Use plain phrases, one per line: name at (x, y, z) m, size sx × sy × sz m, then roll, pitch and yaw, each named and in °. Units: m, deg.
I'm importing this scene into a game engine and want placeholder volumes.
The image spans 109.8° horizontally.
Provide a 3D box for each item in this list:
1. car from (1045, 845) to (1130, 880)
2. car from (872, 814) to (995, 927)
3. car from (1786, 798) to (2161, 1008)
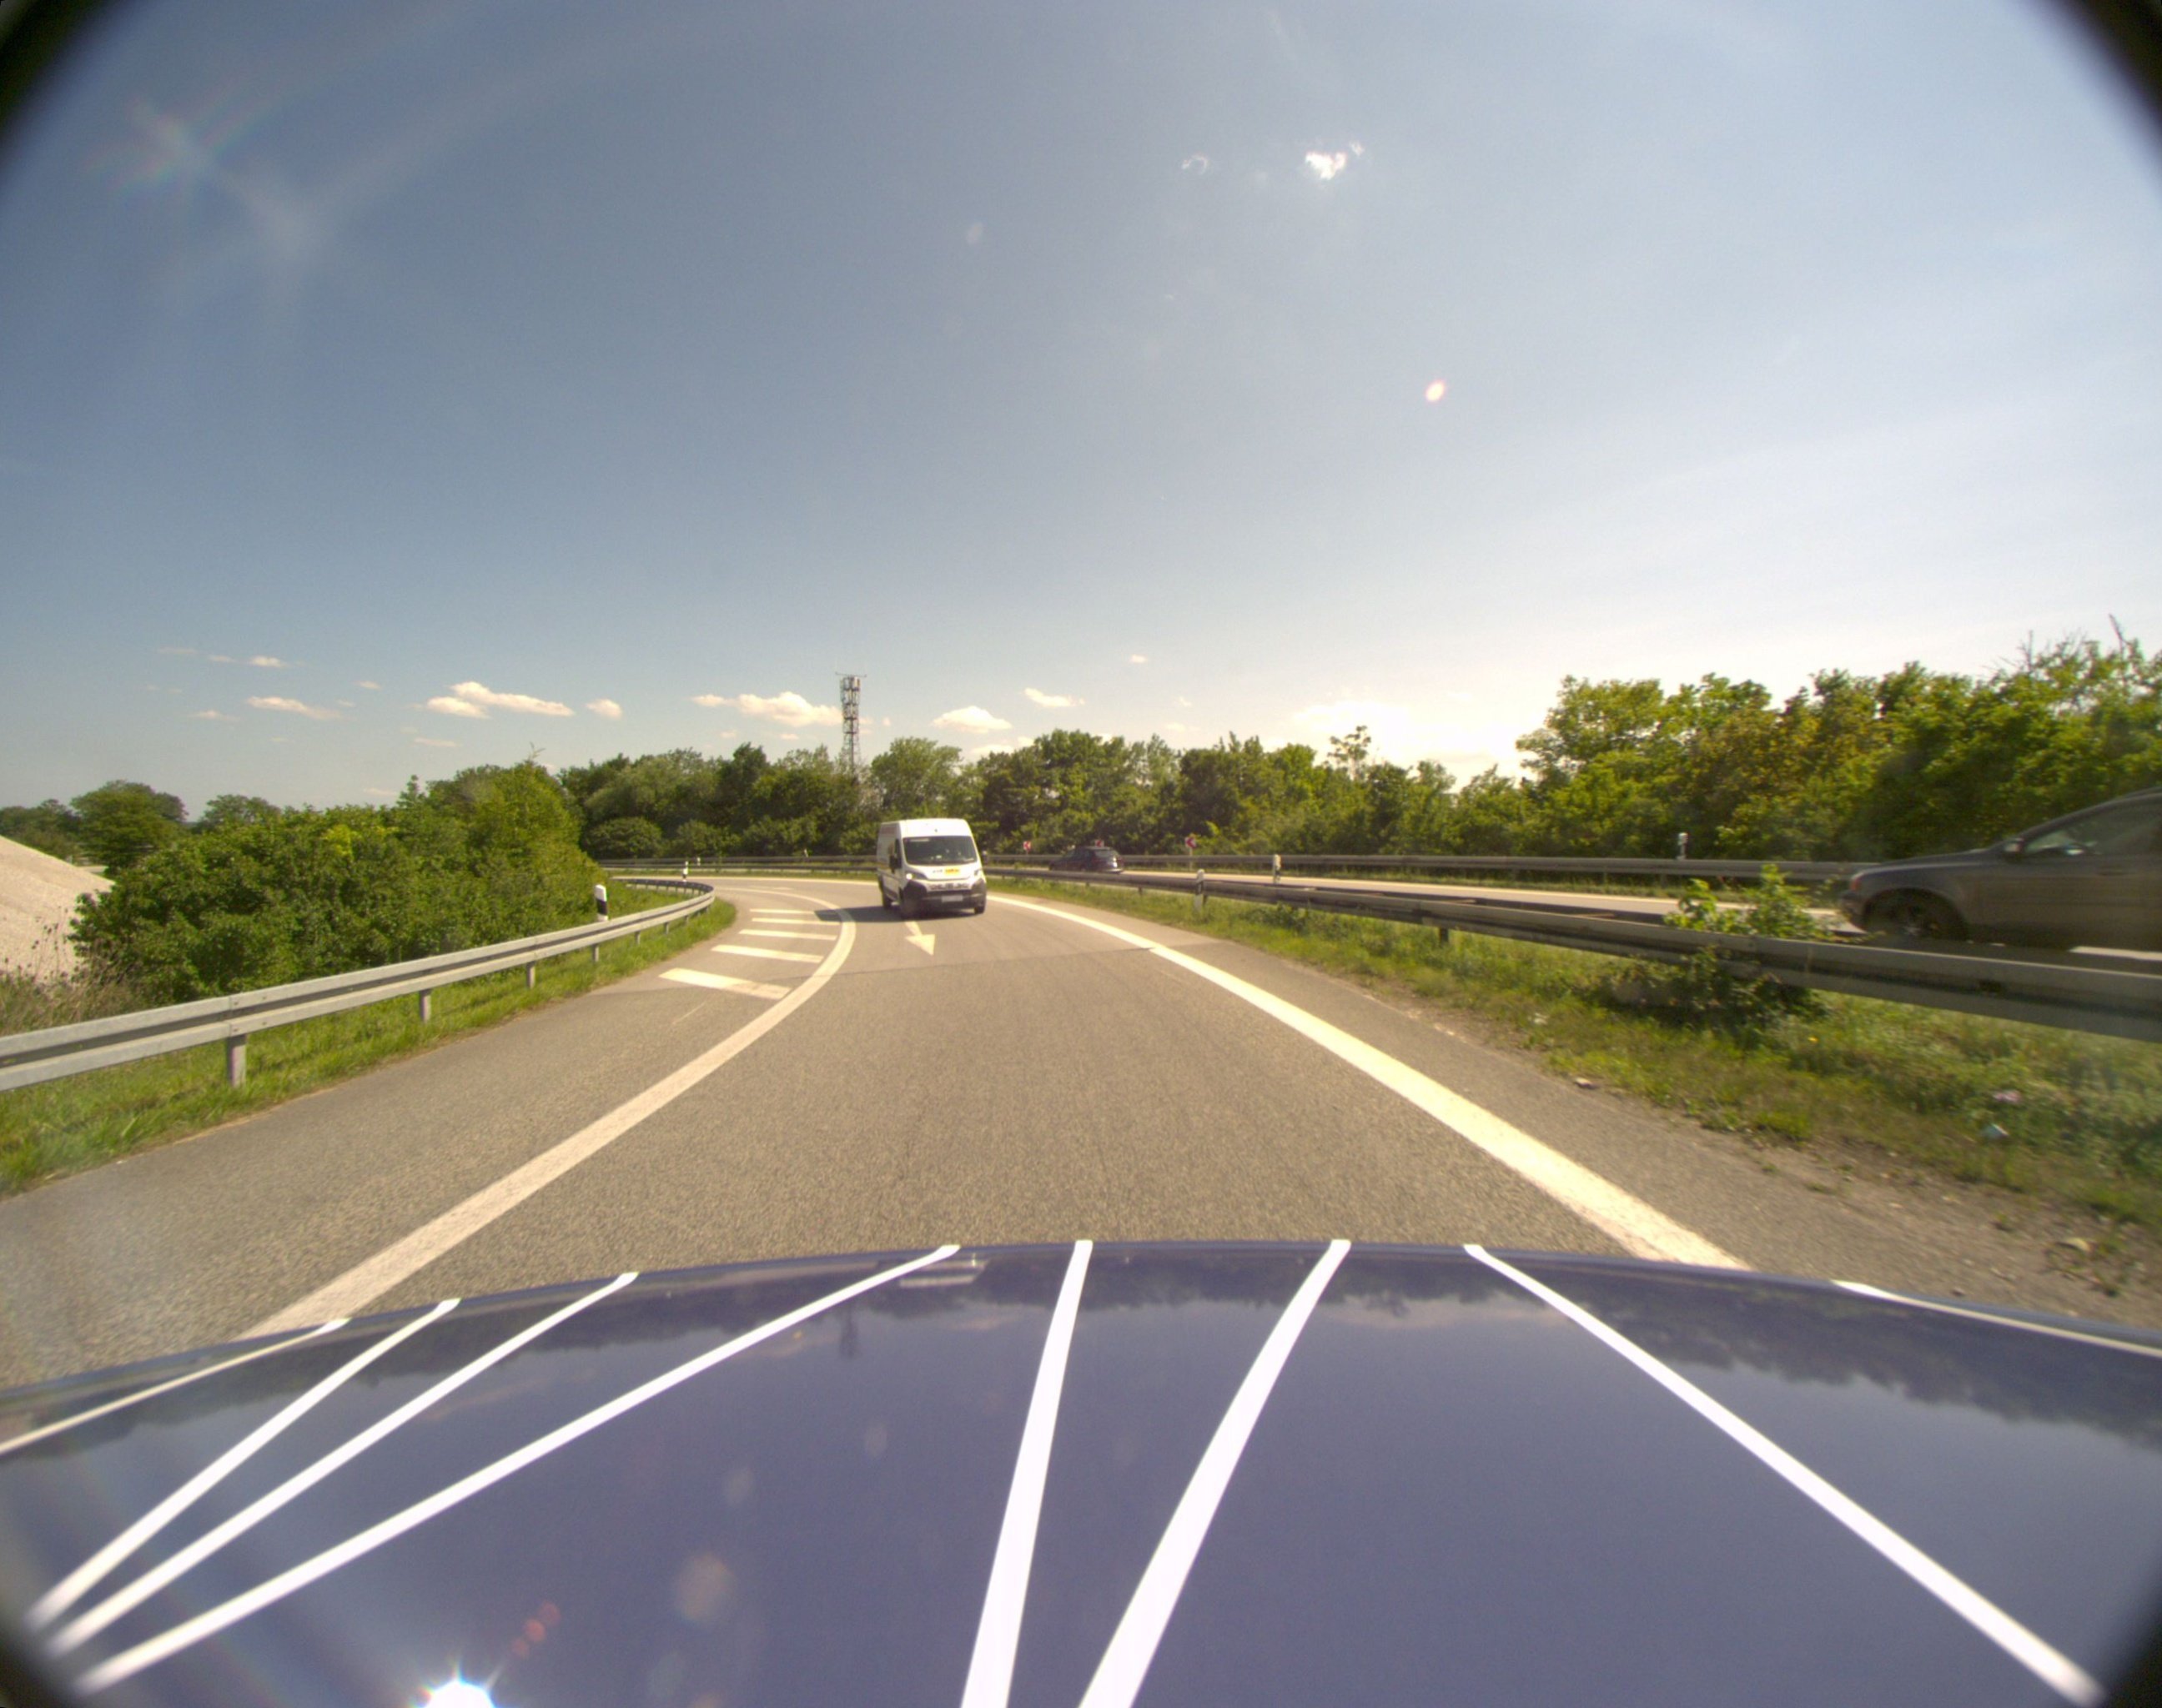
car at (0.204, 0.372, 35.198) m, size 1.802 × 1.440 × 4.692 m, roll -3°, pitch 1°, yaw -29°
car at (-4.209, 0.305, 20.642) m, size 2.090 × 2.510 × 6.224 m, roll -4°, pitch 3°, yaw -21°
car at (9.797, 0.370, 6.632) m, size 2.000 × 1.721 × 5.192 m, roll -2°, pitch 1°, yaw -10°
